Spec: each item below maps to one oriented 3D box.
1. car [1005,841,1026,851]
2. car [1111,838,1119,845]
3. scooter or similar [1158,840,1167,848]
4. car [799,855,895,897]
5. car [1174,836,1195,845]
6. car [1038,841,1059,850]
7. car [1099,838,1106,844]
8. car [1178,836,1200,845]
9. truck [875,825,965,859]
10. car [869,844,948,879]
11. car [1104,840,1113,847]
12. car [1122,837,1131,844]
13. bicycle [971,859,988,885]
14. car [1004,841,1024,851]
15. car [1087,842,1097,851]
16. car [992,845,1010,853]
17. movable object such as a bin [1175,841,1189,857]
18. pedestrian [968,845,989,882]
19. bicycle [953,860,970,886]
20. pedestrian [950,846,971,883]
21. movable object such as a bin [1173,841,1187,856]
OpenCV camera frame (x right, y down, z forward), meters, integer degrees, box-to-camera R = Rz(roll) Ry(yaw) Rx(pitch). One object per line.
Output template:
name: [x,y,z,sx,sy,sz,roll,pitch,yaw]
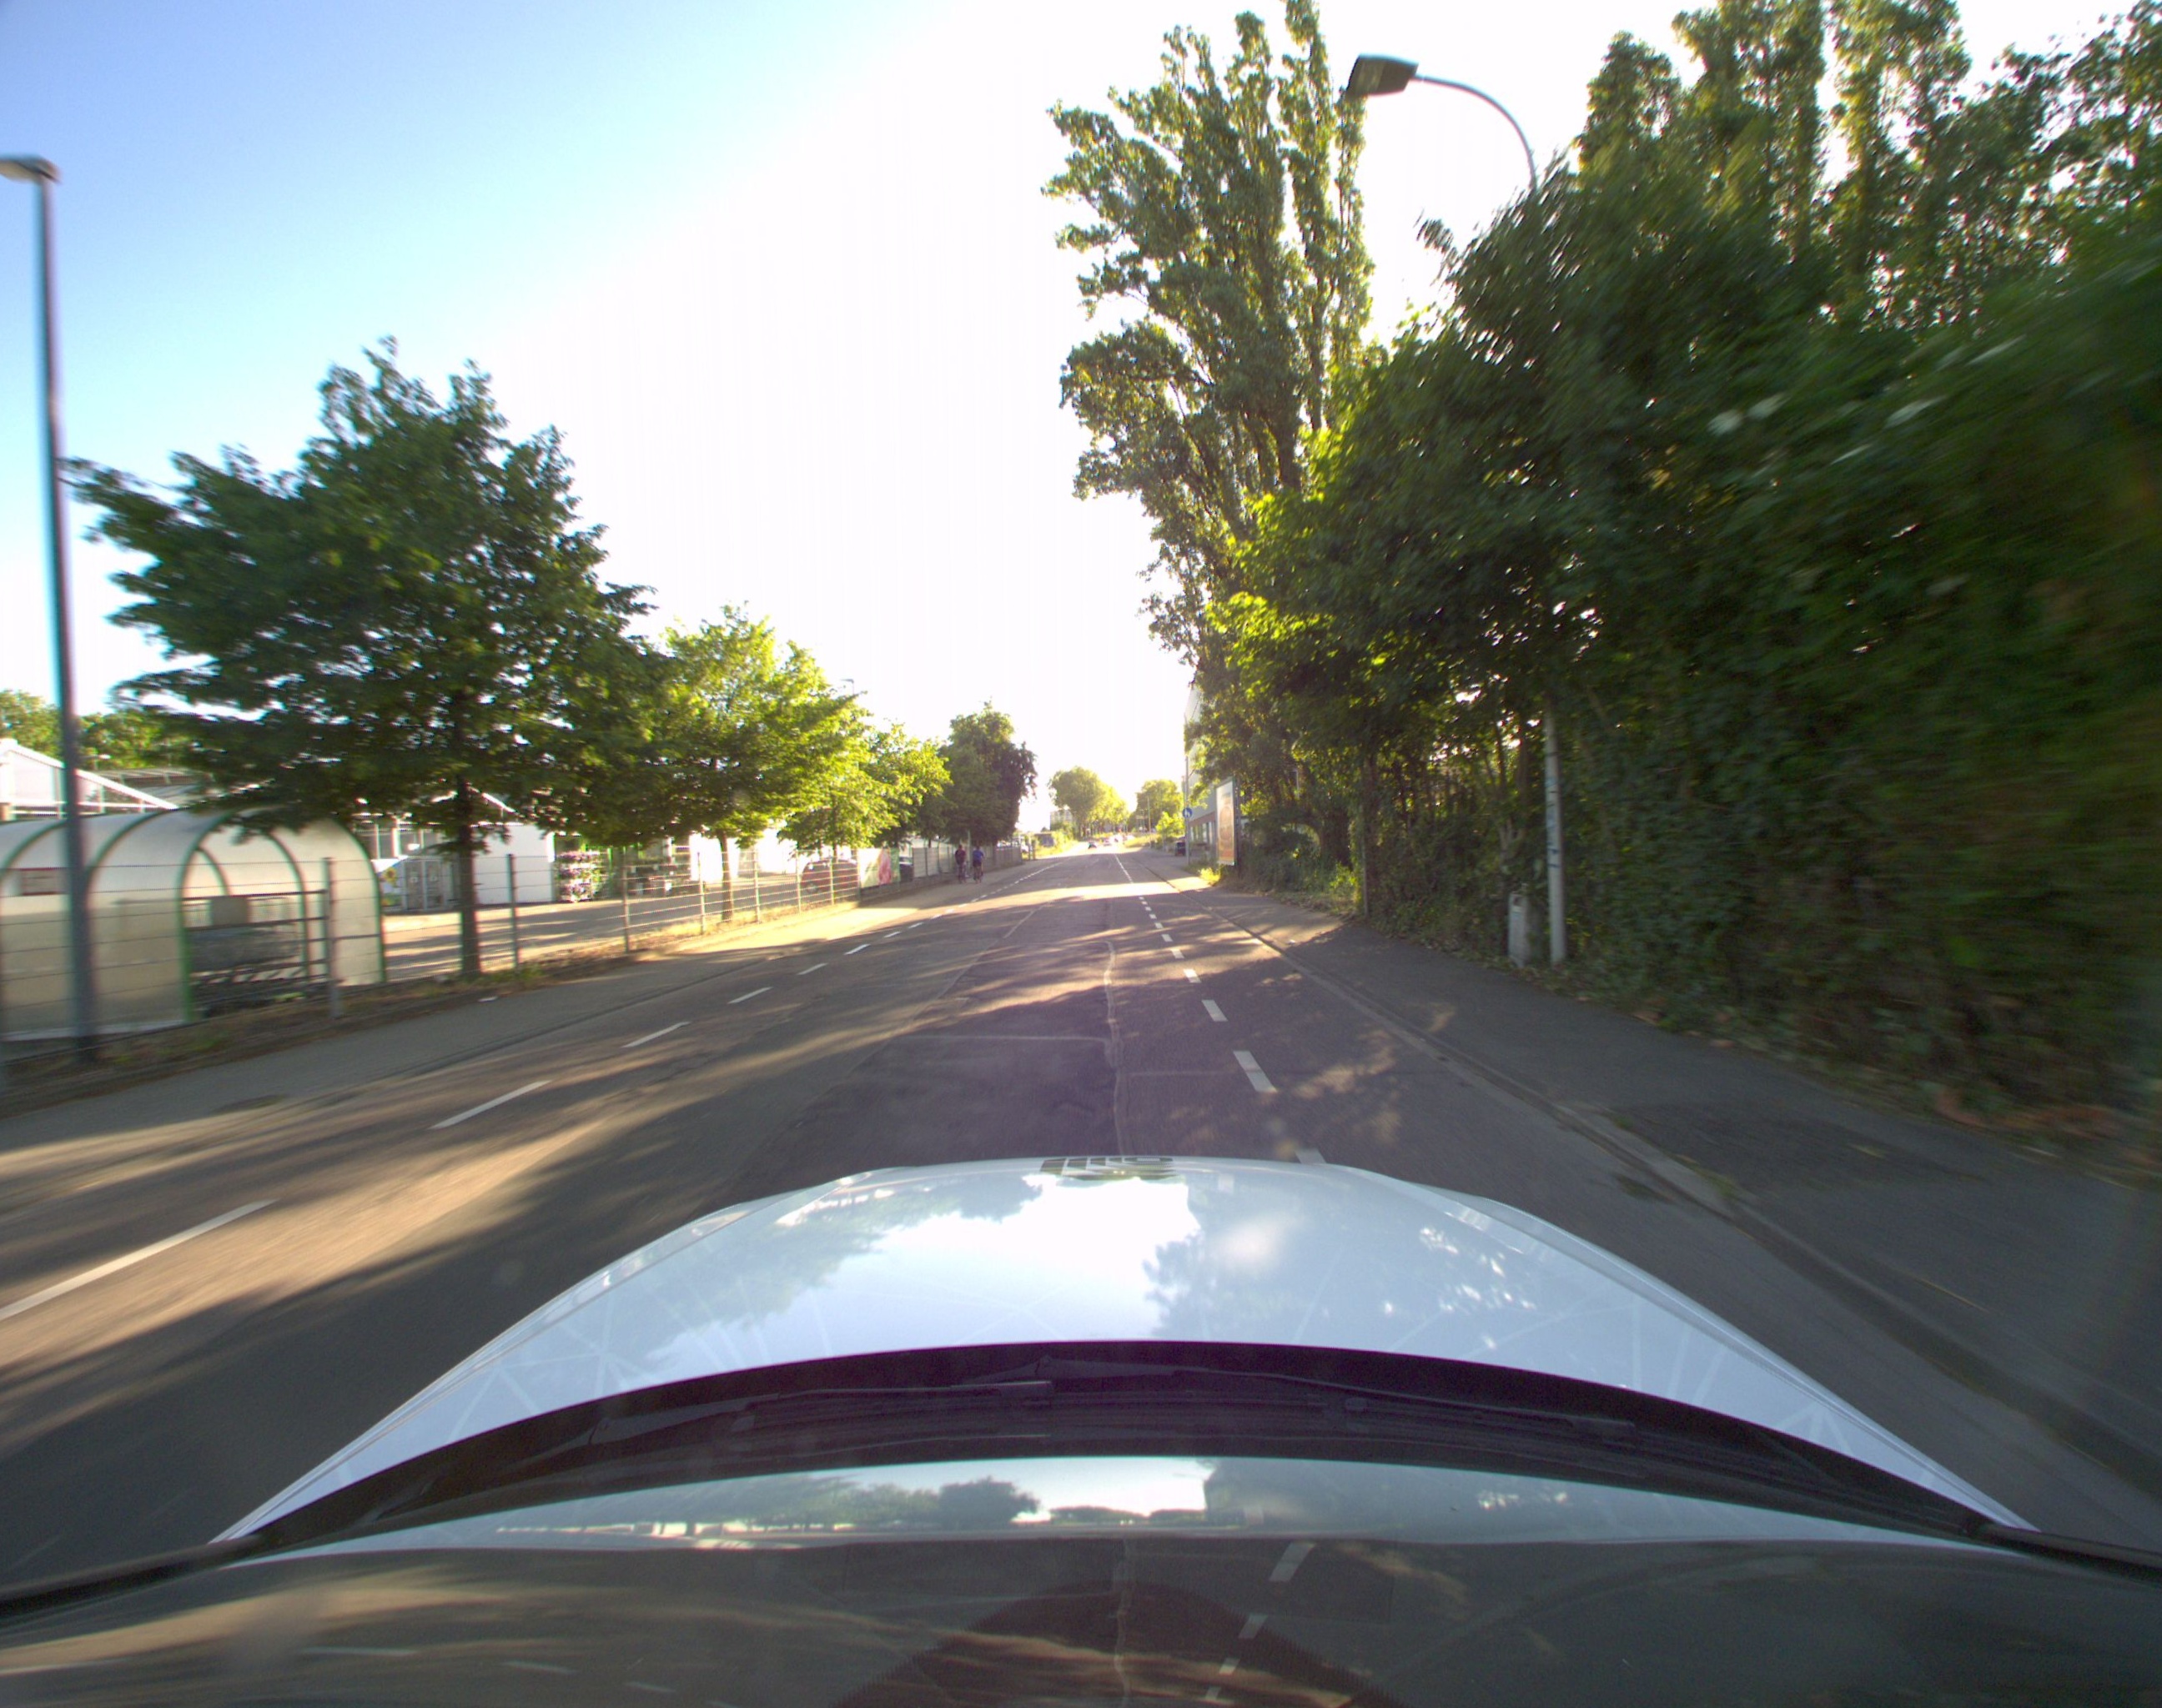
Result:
car: [-17.243,-2.104,215.389,5.078,2.459,2.320,-3,1,1]
car: [9.031,-3.375,216.258,2.154,1.683,4.004,-3,1,3]
scooter or similar: [13.004,-1.643,129.551,1.333,1.245,0.424,-3,1,6]
car: [-10.614,0.994,37.115,3.714,1.450,1.805,-5,2,0]
car: [21.043,-2.772,165.200,4.164,1.580,1.854,-3,1,5]
car: [-7.929,-2.085,199.233,4.828,1.834,2.000,-3,1,1]
car: [5.905,-3.496,220.824,1.647,1.503,4.003,-4,1,3]
car: [20.928,-2.657,158.224,4.164,1.580,1.854,-3,1,5]
truck: [-19.115,-1.431,96.991,10.064,3.614,2.776,-2,1,0]
car: [-9.606,0.399,45.549,3.879,1.511,1.785,-5,2,-2]
car: [6.044,-2.296,178.440,1.782,1.420,4.005,-2,2,3]
car: [12.402,-3.673,221.786,2.155,1.683,4.002,-3,1,2]
bicycle: [-4.920,0.860,39.539,0.444,1.148,2.202,-1,2,2]
car: [-17.576,-2.046,212.726,4.909,2.459,2.320,-3,1,1]
car: [2.243,-1.598,163.632,1.735,1.525,4.112,-6,2,1]
car: [-18.326,-1.168,186.944,3.869,1.603,1.879,-3,1,1]
movable object such as a bin: [9.342,-0.475,75.578,1.124,1.371,1.346,-3,1,1]
pedestrian: [-4.964,0.468,39.485,0.718,1.720,1.058,-3,1,2]
bicycle: [-5.790,0.894,39.448,0.468,1.148,1.870,-1,1,2]
pedestrian: [-5.833,0.501,39.487,0.718,1.720,1.058,-3,1,2]
movable object such as a bin: [9.392,-0.501,77.217,1.124,1.335,1.346,-3,1,1]
